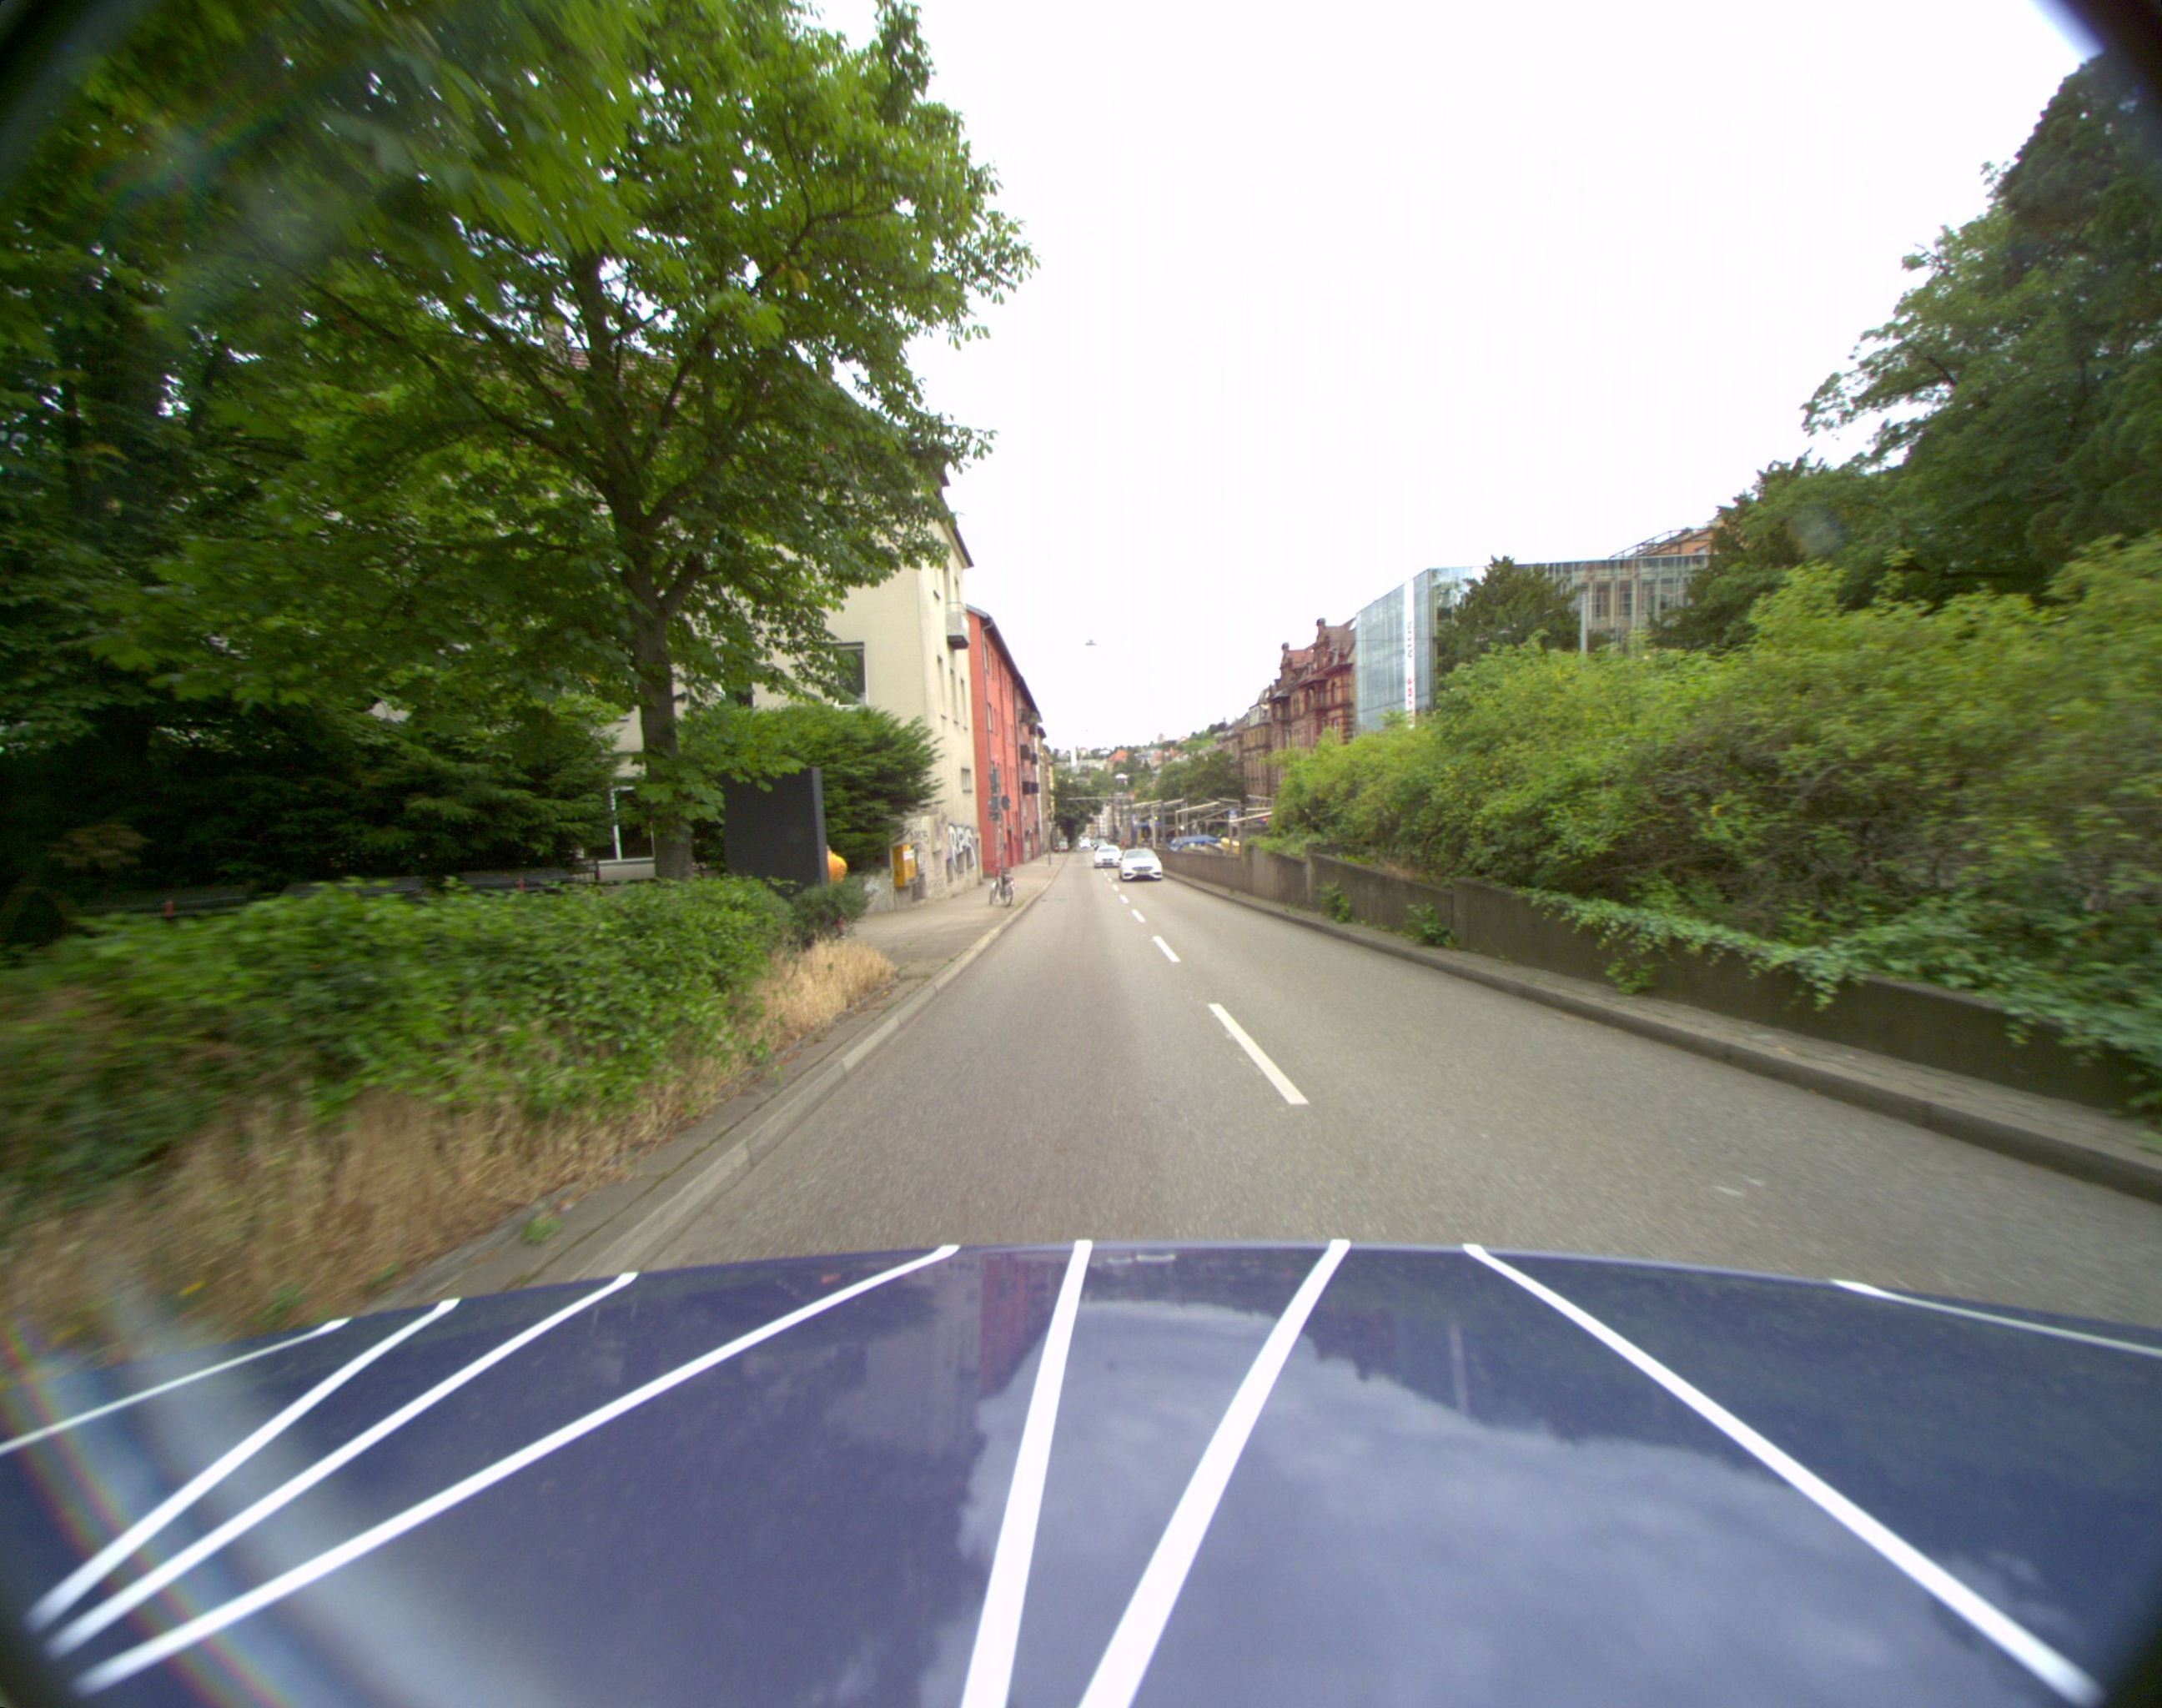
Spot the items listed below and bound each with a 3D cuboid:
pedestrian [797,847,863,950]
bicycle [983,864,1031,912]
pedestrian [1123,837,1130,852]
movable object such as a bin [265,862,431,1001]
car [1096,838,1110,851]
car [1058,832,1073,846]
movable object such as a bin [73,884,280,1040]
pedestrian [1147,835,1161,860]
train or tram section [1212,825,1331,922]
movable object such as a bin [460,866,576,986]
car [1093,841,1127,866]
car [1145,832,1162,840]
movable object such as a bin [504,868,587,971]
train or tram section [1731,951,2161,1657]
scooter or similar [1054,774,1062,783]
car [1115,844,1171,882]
[{"bbox_3d":[-4.303,0.739,13.096,0.835,1.703,0.821,-1,2,-1],"label":"pedestrian"},{"bbox_3d":[-2.000,0.866,20.212,0.641,1.137,2.061,-2,2,-24],"label":"bicycle"},{"bbox_3d":[5.116,-1.066,85.815,0.680,1.671,0.685,-3,2,-2],"label":"pedestrian"},{"bbox_3d":[-8.894,0.888,9.299,1.261,1.527,0.842,-3,2,-34],"label":"movable object such as a bin"},{"bbox_3d":[3.040,-1.311,105.801,1.881,1.728,3.999,-3,2,2],"label":"car"},{"bbox_3d":[-2.079,-2.025,102.334,1.862,1.702,4.307,-1,2,2],"label":"car"},{"bbox_3d":[-10.247,1.169,8.688,1.201,1.527,0.842,-5,3,-32],"label":"movable object such as a bin"},{"bbox_3d":[5.278,-0.490,55.058,0.818,1.767,0.802,-3,2,-1],"label":"pedestrian"},{"bbox_3d":[8.962,0.573,37.600,2.956,3.525,12.390,-2,4,2],"label":"train or tram section"},{"bbox_3d":[-7.995,0.968,10.807,0.841,1.527,1.152,1,3,45],"label":"movable object such as a bin"},{"bbox_3d":[1.943,-0.065,51.887,1.999,1.479,4.228,-5,1,0],"label":"car"},{"bbox_3d":[18.506,-4.474,193.245,3.859,1.804,1.782,-3,2,-15],"label":"car"},{"bbox_3d":[-8.456,0.986,11.992,1.075,1.478,0.812,1,3,45],"label":"movable object such as a bin"},{"bbox_3d":[7.569,3.047,0.801,2.956,3.490,12.980,-2,3,2],"label":"train or tram section"},{"bbox_3d":[-3.474,-11.347,114.652,1.199,1.266,0.629,1,2,-9],"label":"scooter or similar"},{"bbox_3d":[2.792,0.362,35.227,1.999,1.390,4.227,-5,3,-2],"label":"car"}]
